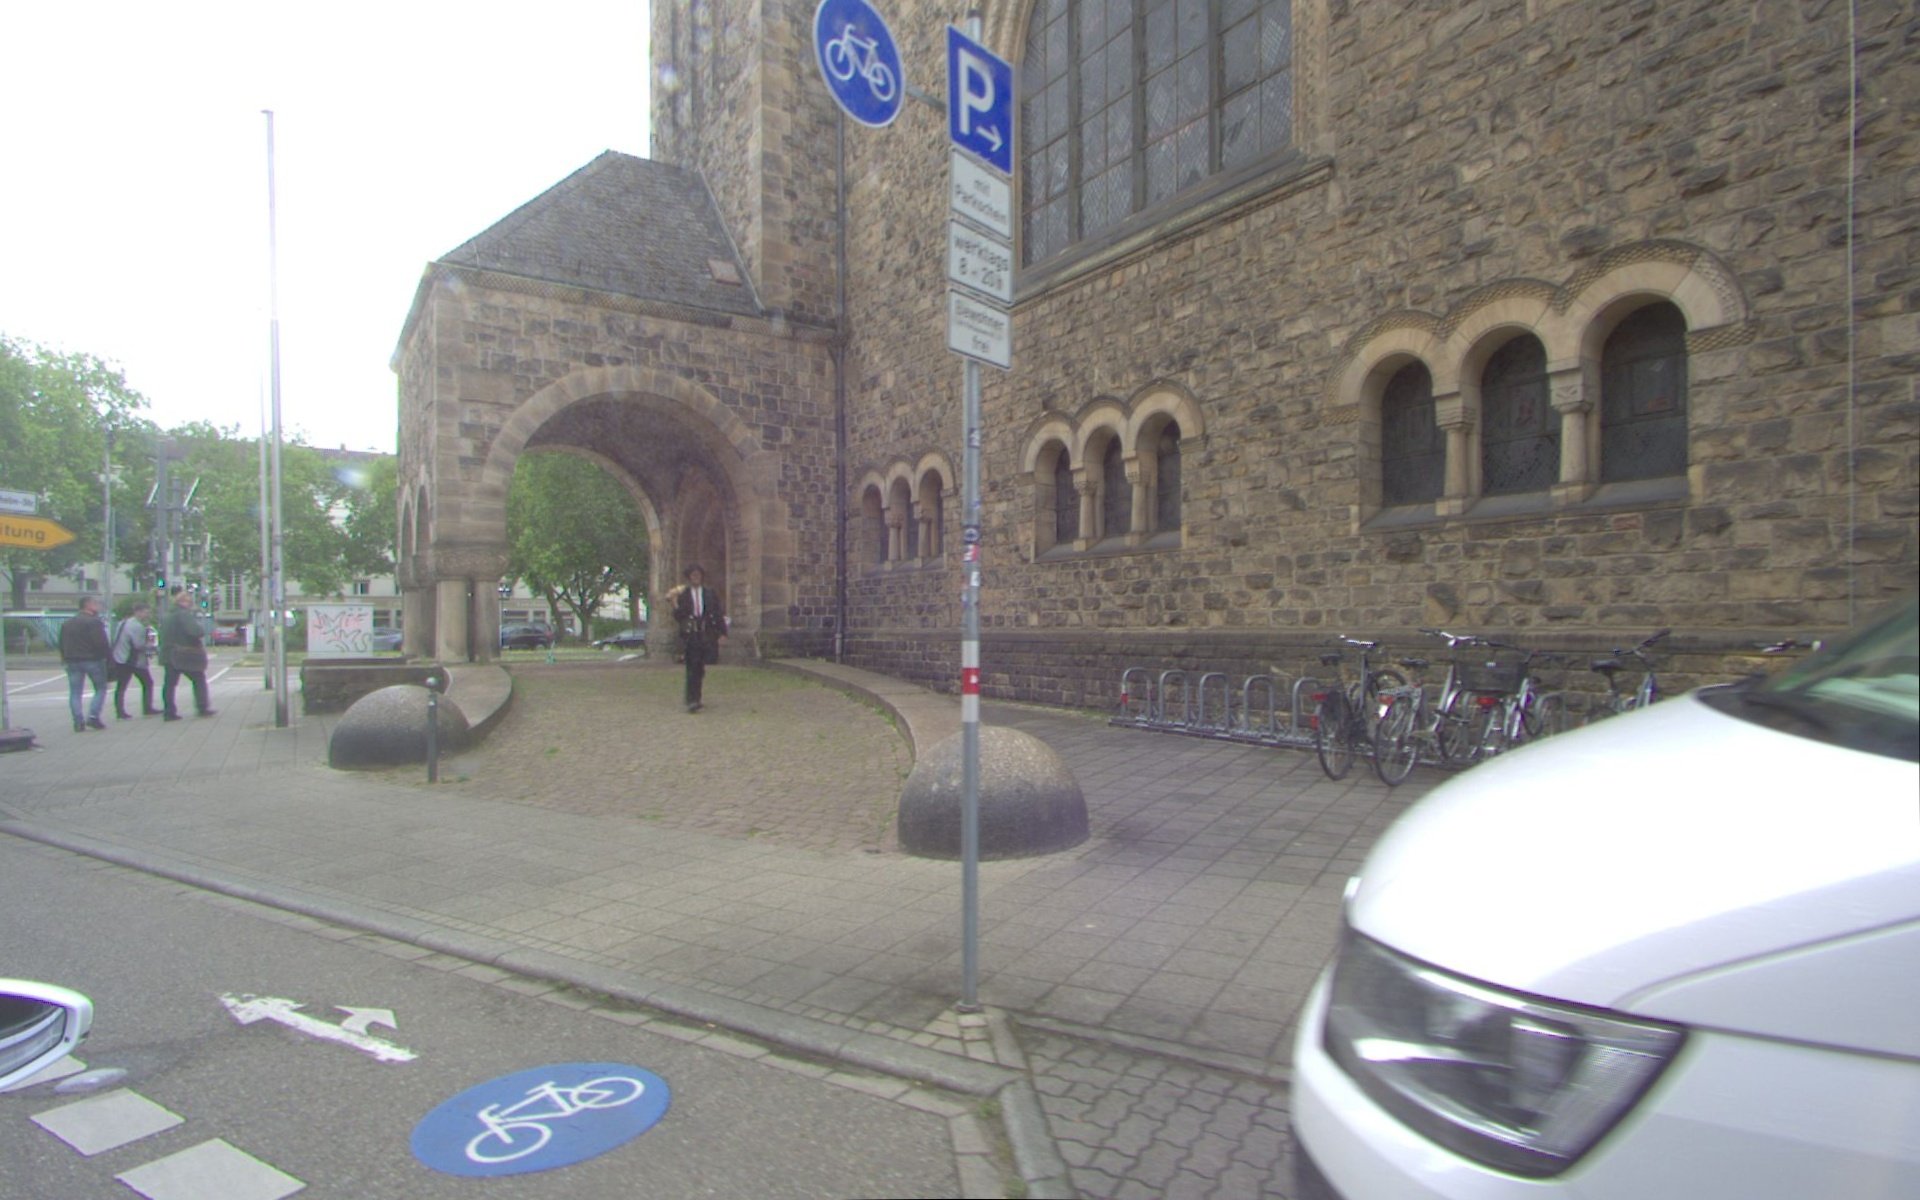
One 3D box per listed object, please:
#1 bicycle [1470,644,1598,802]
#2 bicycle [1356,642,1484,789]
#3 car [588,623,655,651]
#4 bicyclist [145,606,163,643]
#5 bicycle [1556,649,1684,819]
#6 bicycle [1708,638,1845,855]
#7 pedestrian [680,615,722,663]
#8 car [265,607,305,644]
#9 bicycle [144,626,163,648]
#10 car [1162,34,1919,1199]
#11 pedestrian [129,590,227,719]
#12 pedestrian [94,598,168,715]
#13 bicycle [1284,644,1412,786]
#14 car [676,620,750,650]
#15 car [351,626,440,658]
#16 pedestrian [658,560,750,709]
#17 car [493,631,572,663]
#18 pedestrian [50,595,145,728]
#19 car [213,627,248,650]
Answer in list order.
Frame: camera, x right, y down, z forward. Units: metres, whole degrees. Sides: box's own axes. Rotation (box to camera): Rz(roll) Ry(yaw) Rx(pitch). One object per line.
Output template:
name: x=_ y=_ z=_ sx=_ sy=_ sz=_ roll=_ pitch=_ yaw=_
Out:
bicycle: x=4.309 y=0.875 z=7.488 sx=1.366 sy=1.073 sz=0.309 roll=1 pitch=-1 yaw=-36
bicycle: x=3.692 y=0.884 z=8.003 sx=1.366 sy=1.073 sz=0.309 roll=1 pitch=-1 yaw=-36
car: x=-20.070 y=2.184 z=59.367 sx=3.423 sy=1.581 sz=1.676 roll=1 pitch=-1 yaw=-35
bicyclist: x=-36.983 y=1.106 z=45.931 sx=0.608 sy=1.675 sz=0.749 roll=0 pitch=-1 yaw=-36
bicycle: x=4.623 y=0.892 z=6.988 sx=1.327 sy=1.073 sz=0.309 roll=1 pitch=-1 yaw=-36
bicycle: x=4.882 y=0.818 z=5.965 sx=1.327 sy=1.161 sz=0.309 roll=1 pitch=-1 yaw=-36
pedestrian: x=-5.319 y=0.785 z=20.561 sx=0.665 sy=0.964 sz=0.611 roll=0 pitch=-1 yaw=-36
car: x=-50.464 y=1.932 z=74.925 sx=2.211 sy=2.673 sz=5.417 roll=1 pitch=-1 yaw=-31
bicycle: x=-36.974 y=1.697 z=45.920 sx=0.546 sy=1.008 sz=2.047 roll=0 pitch=-1 yaw=-35
car: x=2.887 y=0.457 z=0.728 sx=5.088 sy=1.945 sz=1.802 roll=-1 pitch=-1 yaw=31
pedestrian: x=-11.350 y=0.762 z=14.547 sx=0.955 sy=1.782 sz=0.802 roll=0 pitch=2 yaw=32
pedestrian: x=-12.441 y=0.823 z=15.024 sx=0.957 sy=1.695 sz=0.630 roll=0 pitch=2 yaw=39
bicycle: x=3.242 y=0.918 z=8.314 sx=1.366 sy=1.073 sz=0.309 roll=1 pitch=-1 yaw=-36
car: x=-18.507 y=2.594 z=75.003 sx=5.023 sy=2.123 sz=1.979 roll=1 pitch=-1 yaw=-35
car: x=-29.561 y=2.175 z=52.453 sx=3.939 sy=1.581 sz=1.676 roll=1 pitch=-1 yaw=-35
pedestrian: x=-3.347 y=0.420 z=13.075 sx=0.806 sy=1.834 sz=1.012 roll=0 pitch=3 yaw=-37
car: x=-24.191 y=2.640 z=56.682 sx=3.899 sy=1.733 sz=1.676 roll=1 pitch=-1 yaw=-35
pedestrian: x=-11.532 y=0.794 z=13.394 sx=0.955 sy=1.708 sz=0.673 roll=0 pitch=2 yaw=32
car: x=-51.562 y=2.689 z=70.791 sx=1.647 sy=1.535 sz=3.916 roll=1 pitch=-1 yaw=-31
